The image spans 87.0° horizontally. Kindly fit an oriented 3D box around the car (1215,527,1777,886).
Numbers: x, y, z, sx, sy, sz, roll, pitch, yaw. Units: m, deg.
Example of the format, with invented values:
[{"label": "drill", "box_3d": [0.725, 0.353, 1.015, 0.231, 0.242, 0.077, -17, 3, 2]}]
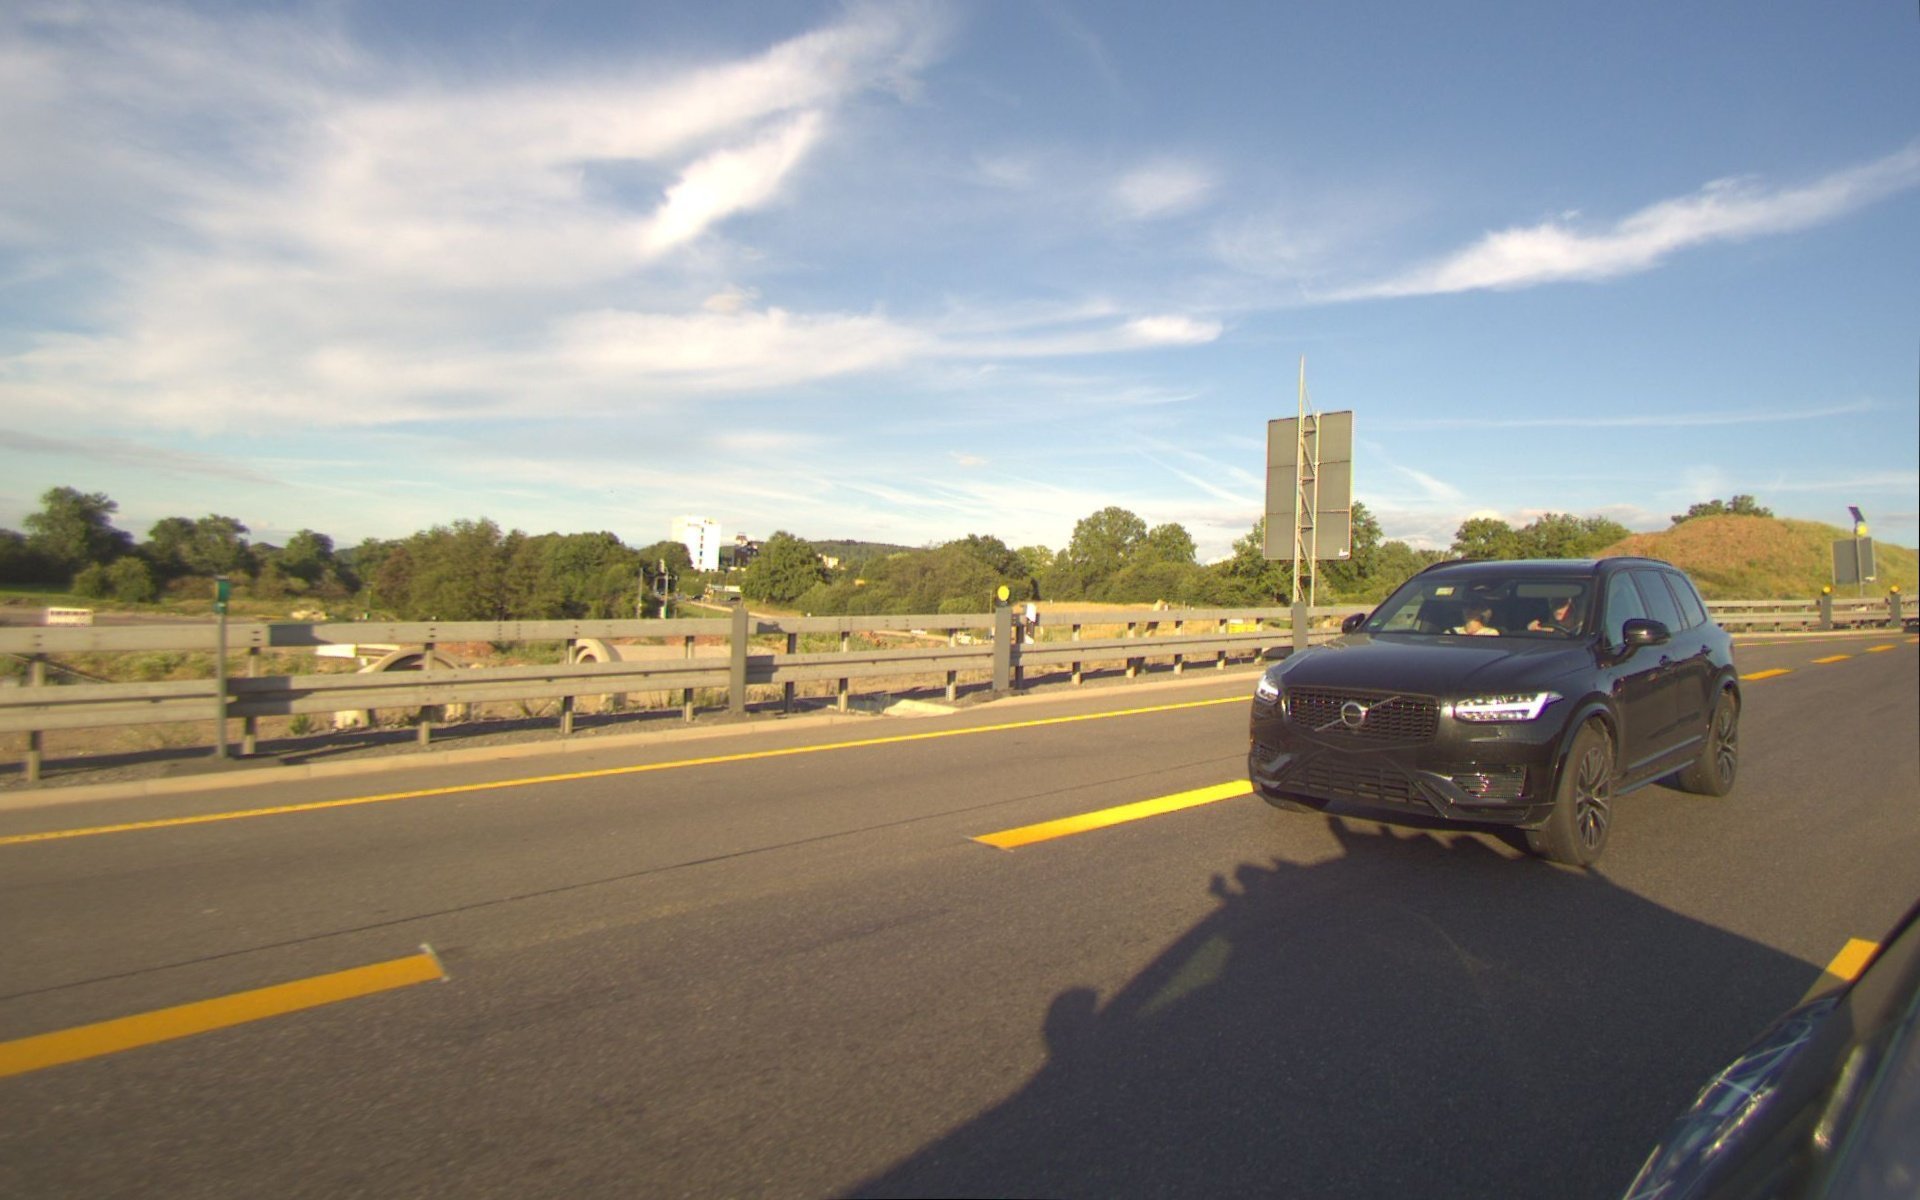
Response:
[{"label": "car", "box_3d": [4.035, 0.484, 7.181, 4.802, 1.734, 1.901, -1, 1, -41]}]
